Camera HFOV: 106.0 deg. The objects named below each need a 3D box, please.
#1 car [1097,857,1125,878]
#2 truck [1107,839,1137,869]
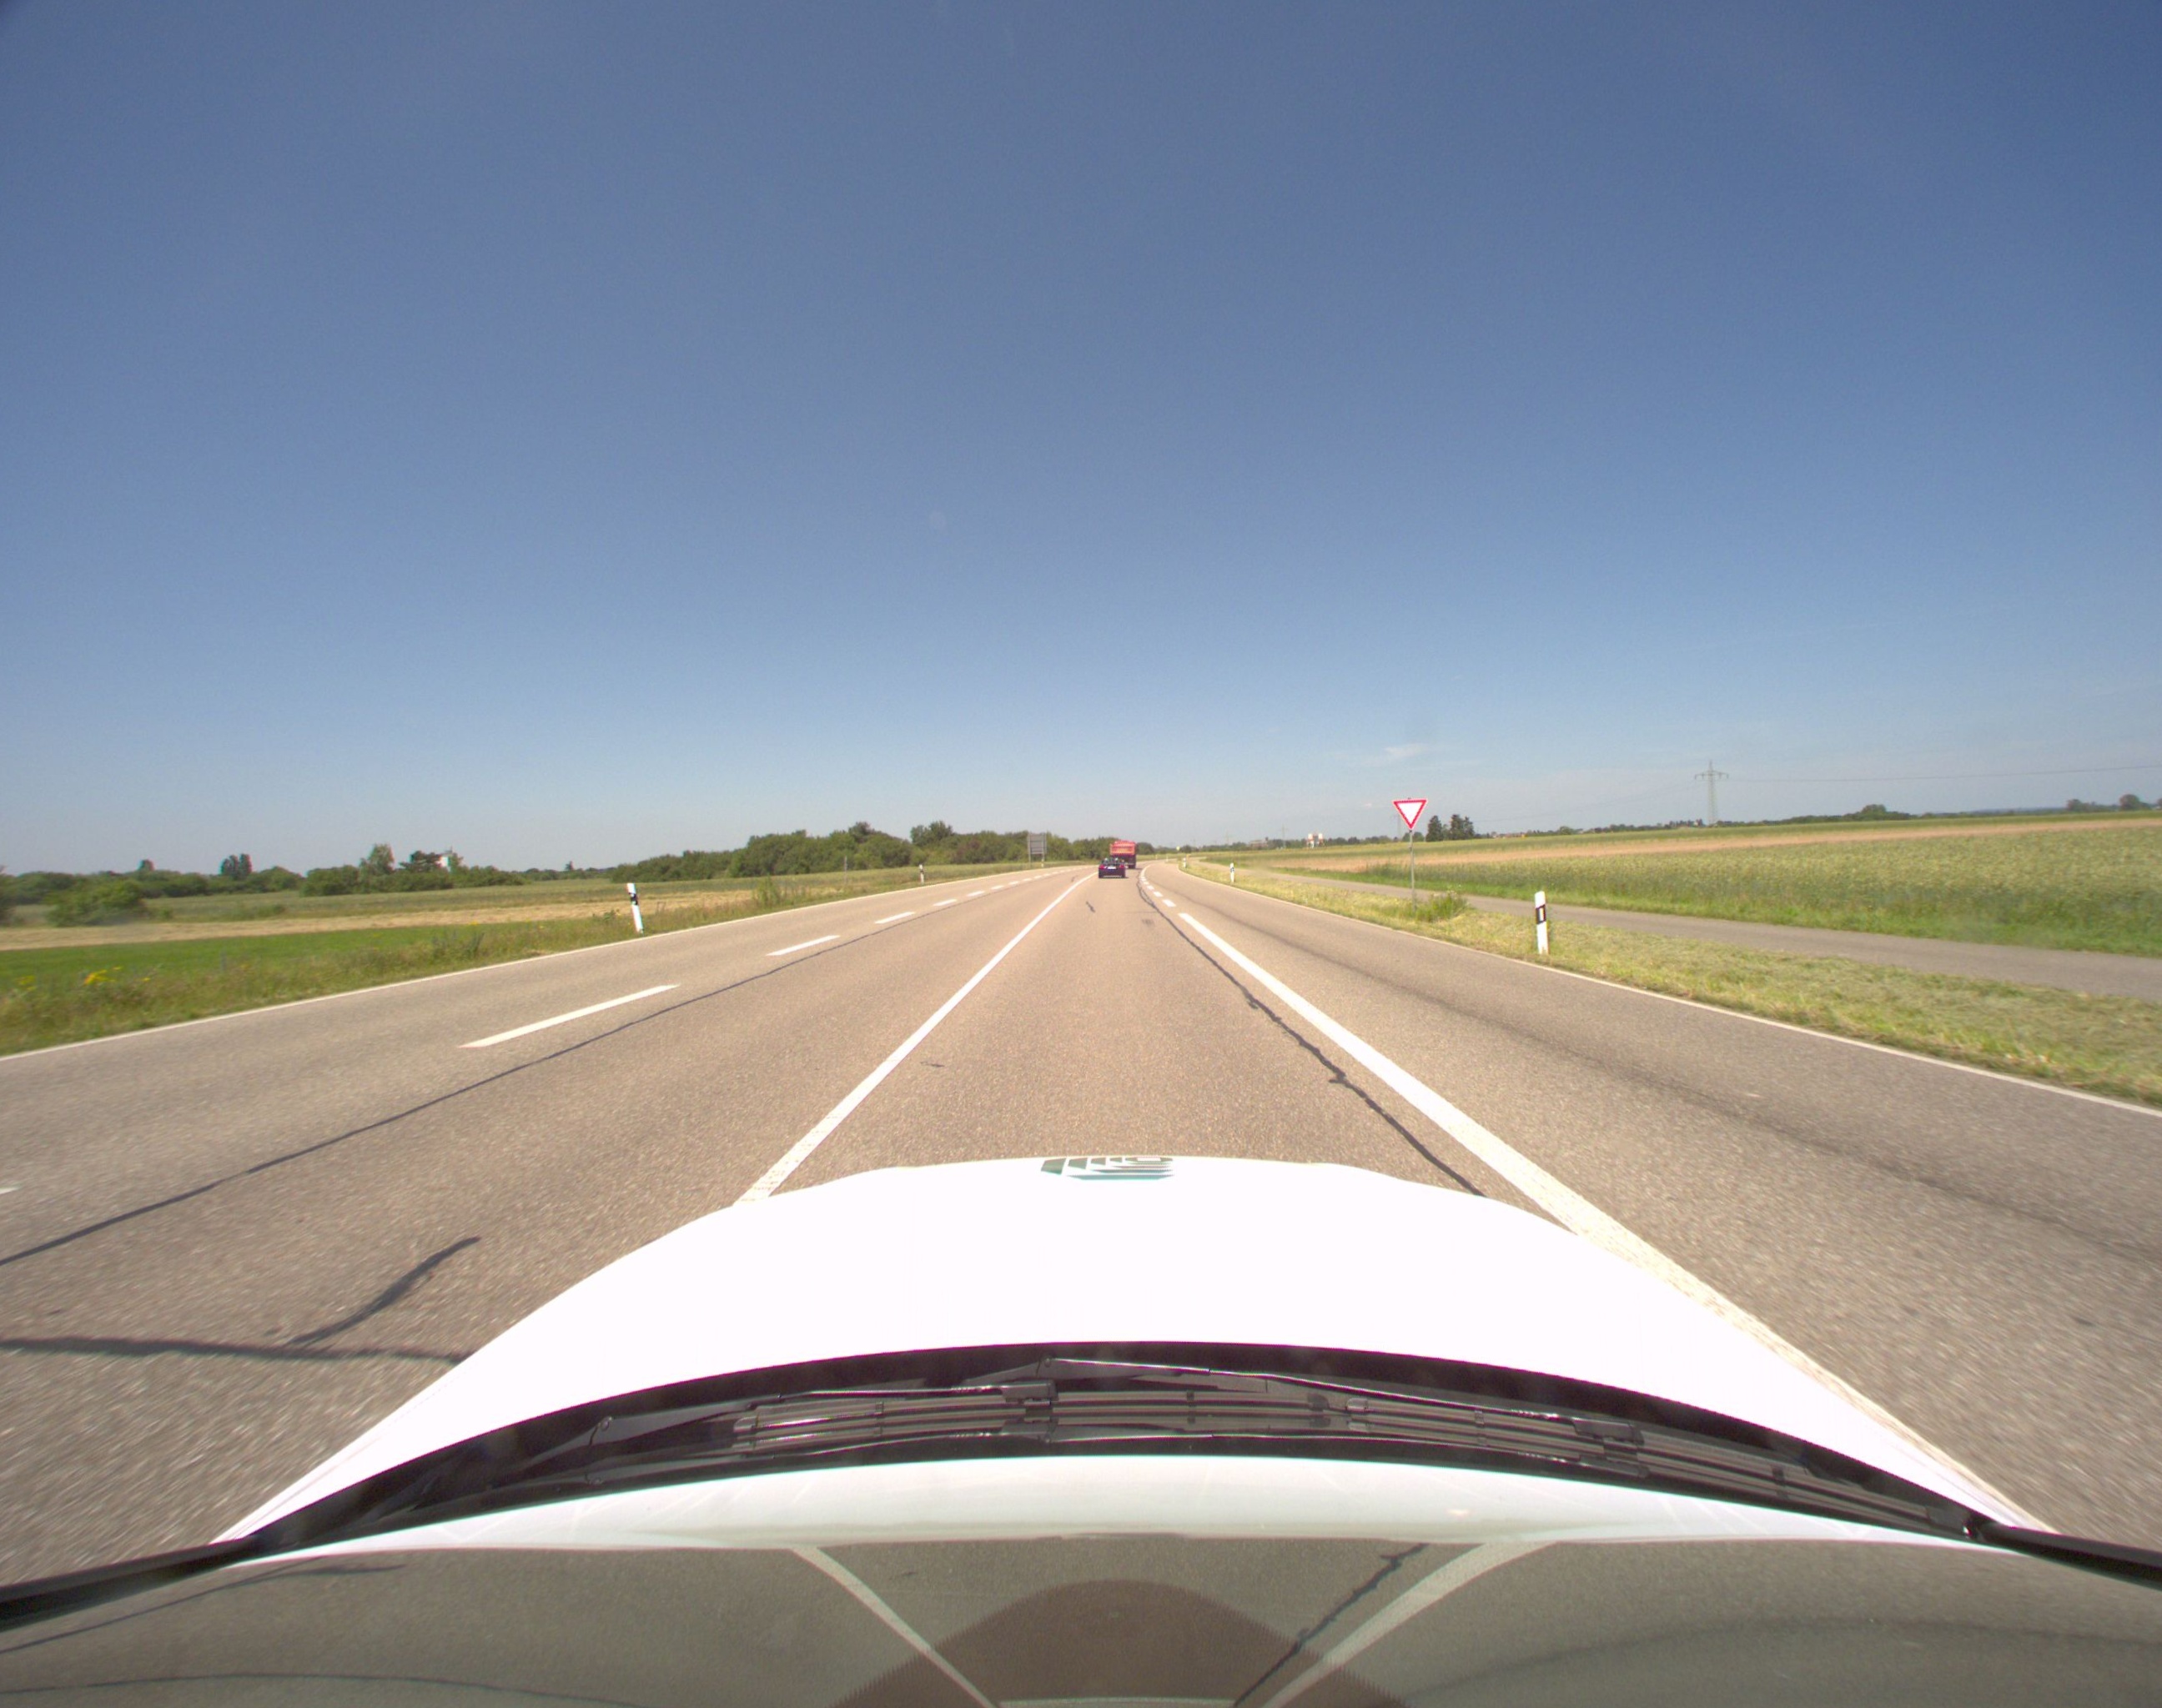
[{"bbox_3d":[2.003,0.861,53.397,1.737,1.280,4.003,-1,0,3],"label":"car"},{"bbox_3d":[4.455,0.022,88.037,2.924,3.089,7.205,-1,-1,5],"label":"truck"}]
